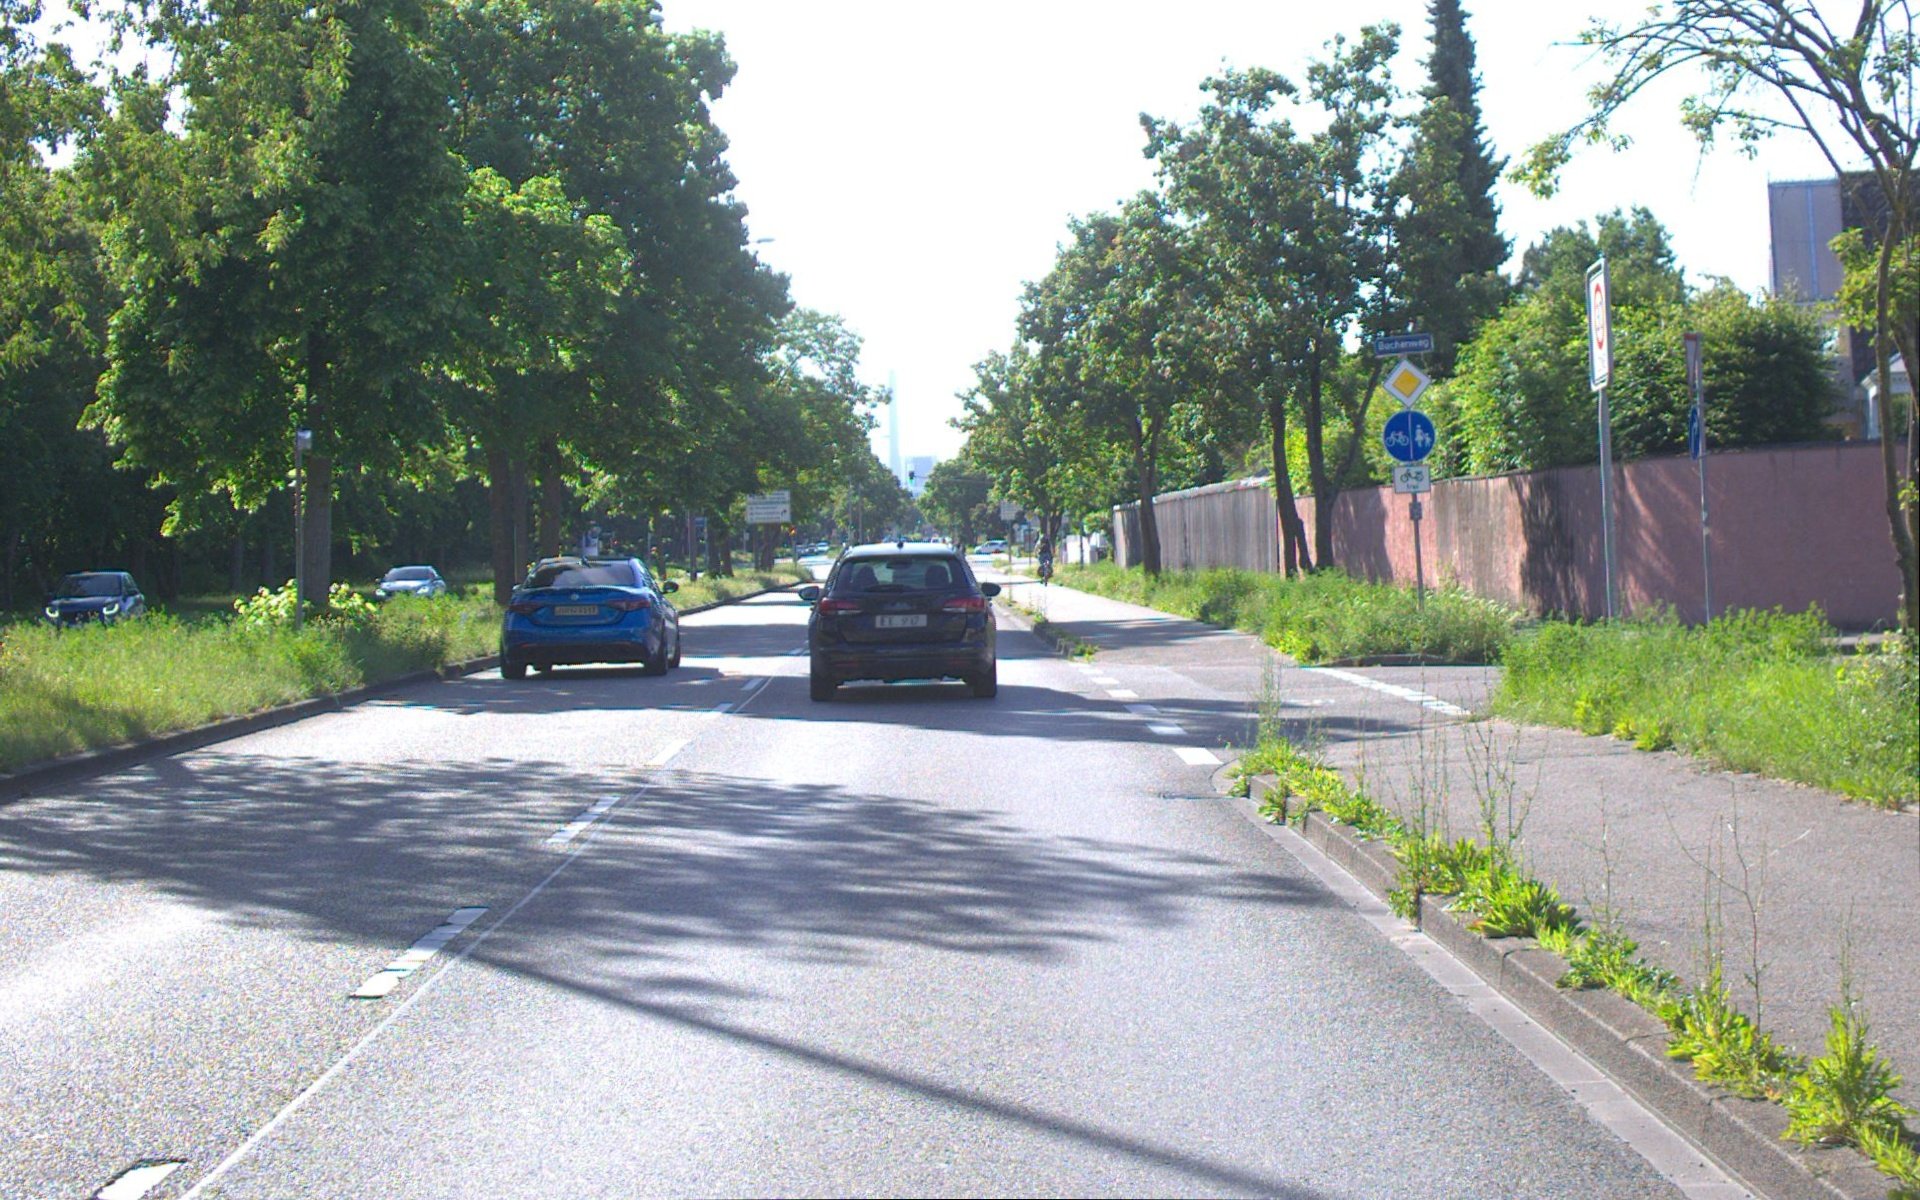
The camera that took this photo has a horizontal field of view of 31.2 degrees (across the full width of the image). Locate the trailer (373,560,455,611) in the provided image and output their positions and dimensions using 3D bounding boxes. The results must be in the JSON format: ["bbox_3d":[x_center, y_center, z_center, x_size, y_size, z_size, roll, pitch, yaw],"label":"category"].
[{"bbox_3d":[-16.907,-0.462,106.621,1.740,1.419,4.496,-3,1,0],"label":"trailer"}]

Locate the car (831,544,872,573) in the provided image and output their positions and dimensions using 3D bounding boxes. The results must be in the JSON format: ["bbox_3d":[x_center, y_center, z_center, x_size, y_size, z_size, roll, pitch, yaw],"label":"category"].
[{"bbox_3d":[-5.791,-2.207,182.900,1.978,1.435,4.001,-2,2,-4],"label":"car"}]

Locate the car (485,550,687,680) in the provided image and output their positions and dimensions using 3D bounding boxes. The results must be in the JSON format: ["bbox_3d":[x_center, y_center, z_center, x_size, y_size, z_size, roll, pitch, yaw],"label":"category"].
[{"bbox_3d":[-4.386,0.141,40.860,1.994,1.400,4.000,-1,1,-1],"label":"car"}]

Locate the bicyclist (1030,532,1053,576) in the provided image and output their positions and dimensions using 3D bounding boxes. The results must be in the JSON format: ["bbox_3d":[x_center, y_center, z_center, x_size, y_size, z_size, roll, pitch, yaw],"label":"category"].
[{"bbox_3d":[2.613,-1.484,110.679,0.680,1.414,0.812,-1,1,-1],"label":"bicyclist"}]

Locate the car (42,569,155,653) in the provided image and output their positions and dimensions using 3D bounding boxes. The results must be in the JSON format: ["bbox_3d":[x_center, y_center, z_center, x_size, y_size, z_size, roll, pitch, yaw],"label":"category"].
[{"bbox_3d":[-17.217,0.197,68.841,1.714,1.500,3.017,-4,2,-6],"label":"car"}]

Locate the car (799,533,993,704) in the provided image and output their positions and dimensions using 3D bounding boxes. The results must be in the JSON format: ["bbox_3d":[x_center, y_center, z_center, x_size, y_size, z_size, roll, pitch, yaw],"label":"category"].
[{"bbox_3d":[-0.569,0.141,33.369,1.760,1.554,4.000,0,1,0],"label":"car"}]

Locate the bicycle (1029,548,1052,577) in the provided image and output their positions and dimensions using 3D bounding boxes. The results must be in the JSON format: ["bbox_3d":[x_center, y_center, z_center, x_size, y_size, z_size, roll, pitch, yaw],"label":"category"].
[{"bbox_3d":[2.601,-1.212,110.768,0.655,0.889,1.875,-1,1,-1],"label":"bicycle"}]
